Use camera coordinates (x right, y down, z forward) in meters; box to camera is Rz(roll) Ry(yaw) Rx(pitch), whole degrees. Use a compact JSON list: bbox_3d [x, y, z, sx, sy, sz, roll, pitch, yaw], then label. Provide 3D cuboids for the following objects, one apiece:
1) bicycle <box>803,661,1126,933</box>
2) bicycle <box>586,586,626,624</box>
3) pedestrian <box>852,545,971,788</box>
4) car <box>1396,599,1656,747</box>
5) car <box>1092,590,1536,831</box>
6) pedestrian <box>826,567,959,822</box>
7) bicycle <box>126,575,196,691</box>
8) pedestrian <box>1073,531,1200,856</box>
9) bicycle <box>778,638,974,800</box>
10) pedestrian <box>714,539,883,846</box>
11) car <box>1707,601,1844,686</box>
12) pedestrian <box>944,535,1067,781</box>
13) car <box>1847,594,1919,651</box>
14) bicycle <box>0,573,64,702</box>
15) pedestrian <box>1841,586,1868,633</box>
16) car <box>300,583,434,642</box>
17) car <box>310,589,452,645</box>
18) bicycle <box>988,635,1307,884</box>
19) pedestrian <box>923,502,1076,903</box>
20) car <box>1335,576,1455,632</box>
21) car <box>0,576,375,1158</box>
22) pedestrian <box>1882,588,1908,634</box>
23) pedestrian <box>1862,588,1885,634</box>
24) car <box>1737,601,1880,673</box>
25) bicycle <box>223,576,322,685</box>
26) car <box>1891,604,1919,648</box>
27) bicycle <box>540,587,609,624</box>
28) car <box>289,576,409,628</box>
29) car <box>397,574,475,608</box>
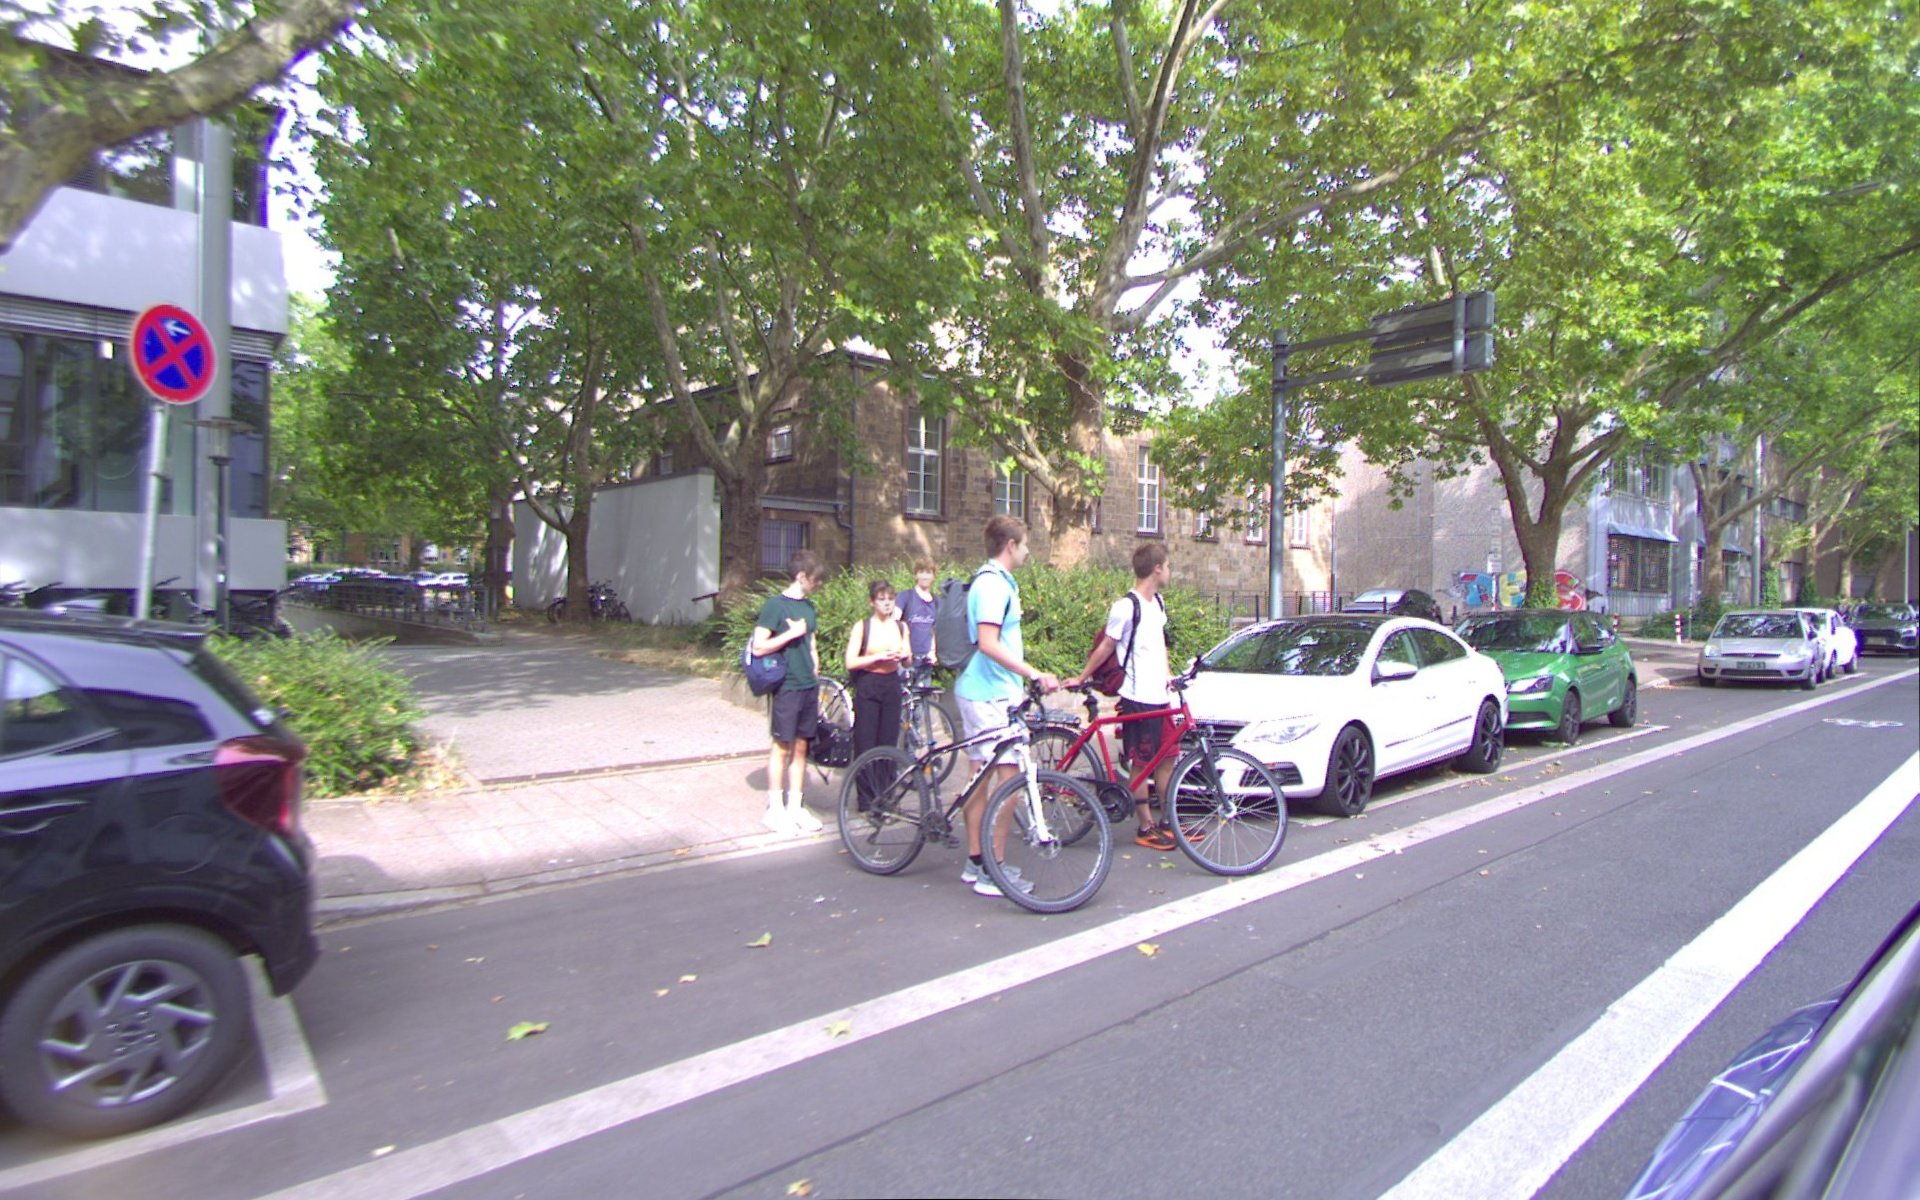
[{"bbox_3d":[-0.030,0.922,5.272,1.731,1.119,0.544,0,-1,39],"label":"bicycle"},{"bbox_3d":[-8.947,0.117,25.529,0.499,0.889,1.625,-2,2,-35],"label":"bicycle"},{"bbox_3d":[-0.405,0.514,8.356,0.691,1.878,0.722,0,-1,-41],"label":"pedestrian"},{"bbox_3d":[6.758,0.747,11.925,3.741,1.468,1.588,0,-2,-43],"label":"car"},{"bbox_3d":[3.213,0.727,8.622,4.468,1.535,1.682,0,-2,-43],"label":"car"},{"bbox_3d":[-0.482,0.623,7.152,0.643,1.679,0.722,0,-1,-41],"label":"pedestrian"},{"bbox_3d":[-8.556,0.316,10.820,0.461,1.131,1.447,1,2,-43],"label":"bicycle"},{"bbox_3d":[1.104,0.536,6.286,0.518,1.869,0.735,0,-1,35],"label":"pedestrian"},{"bbox_3d":[-0.717,0.909,8.226,1.763,1.146,0.456,0,-1,39],"label":"bicycle"},{"bbox_3d":[-1.071,0.553,6.666,0.766,1.840,0.872,0,-1,-41],"label":"pedestrian"},{"bbox_3d":[15.637,0.768,19.340,1.643,1.466,3.820,-1,-1,45],"label":"car"},{"bbox_3d":[0.397,0.474,8.867,0.737,2.023,0.794,0,-1,-41],"label":"pedestrian"},{"bbox_3d":[28.926,0.656,31.176,4.404,1.642,1.923,0,-1,-43],"label":"car"},{"bbox_3d":[-9.059,0.326,9.764,1.538,1.131,0.461,3,2,43],"label":"bicycle"},{"bbox_3d":[36.711,0.384,41.531,0.634,1.855,0.643,0,4,-41],"label":"pedestrian"},{"bbox_3d":[-25.965,0.516,44.401,4.710,2.438,2.225,0,-1,-43],"label":"car"},{"bbox_3d":[-23.792,0.658,41.690,4.710,2.172,2.225,0,-1,-43],"label":"car"},{"bbox_3d":[1.061,0.850,5.953,1.781,1.233,0.547,0,-1,33],"label":"bicycle"},{"bbox_3d":[0.221,0.500,5.392,0.474,1.959,0.734,-1,-1,38],"label":"pedestrian"},{"bbox_3d":[12.865,0.148,29.805,4.223,1.468,1.671,3,-2,-43],"label":"car"},{"bbox_3d":[-3.715,0.705,2.633,3.595,1.521,1.531,0,-1,-41],"label":"car"},{"bbox_3d":[37.247,0.429,40.306,0.468,1.806,0.592,0,4,-41],"label":"pedestrian"},{"bbox_3d":[36.829,0.417,40.806,0.518,1.806,0.502,0,4,-41],"label":"pedestrian"},{"bbox_3d":[18.974,0.761,22.580,4.143,1.466,1.757,0,-1,-40],"label":"car"},{"bbox_3d":[-7.898,0.310,11.600,1.674,1.131,0.595,3,2,44],"label":"bicycle"},{"bbox_3d":[33.218,0.862,34.503,4.493,1.451,1.642,0,-1,-41],"label":"car"},{"bbox_3d":[-9.956,0.125,26.149,1.594,0.889,0.479,-2,2,-35],"label":"bicycle"},{"bbox_3d":[-29.954,0.118,49.695,4.710,2.438,2.225,0,-1,-43],"label":"car"},{"bbox_3d":[-38.899,-0.609,75.186,4.710,2.438,2.225,0,-1,-43],"label":"car"}]
